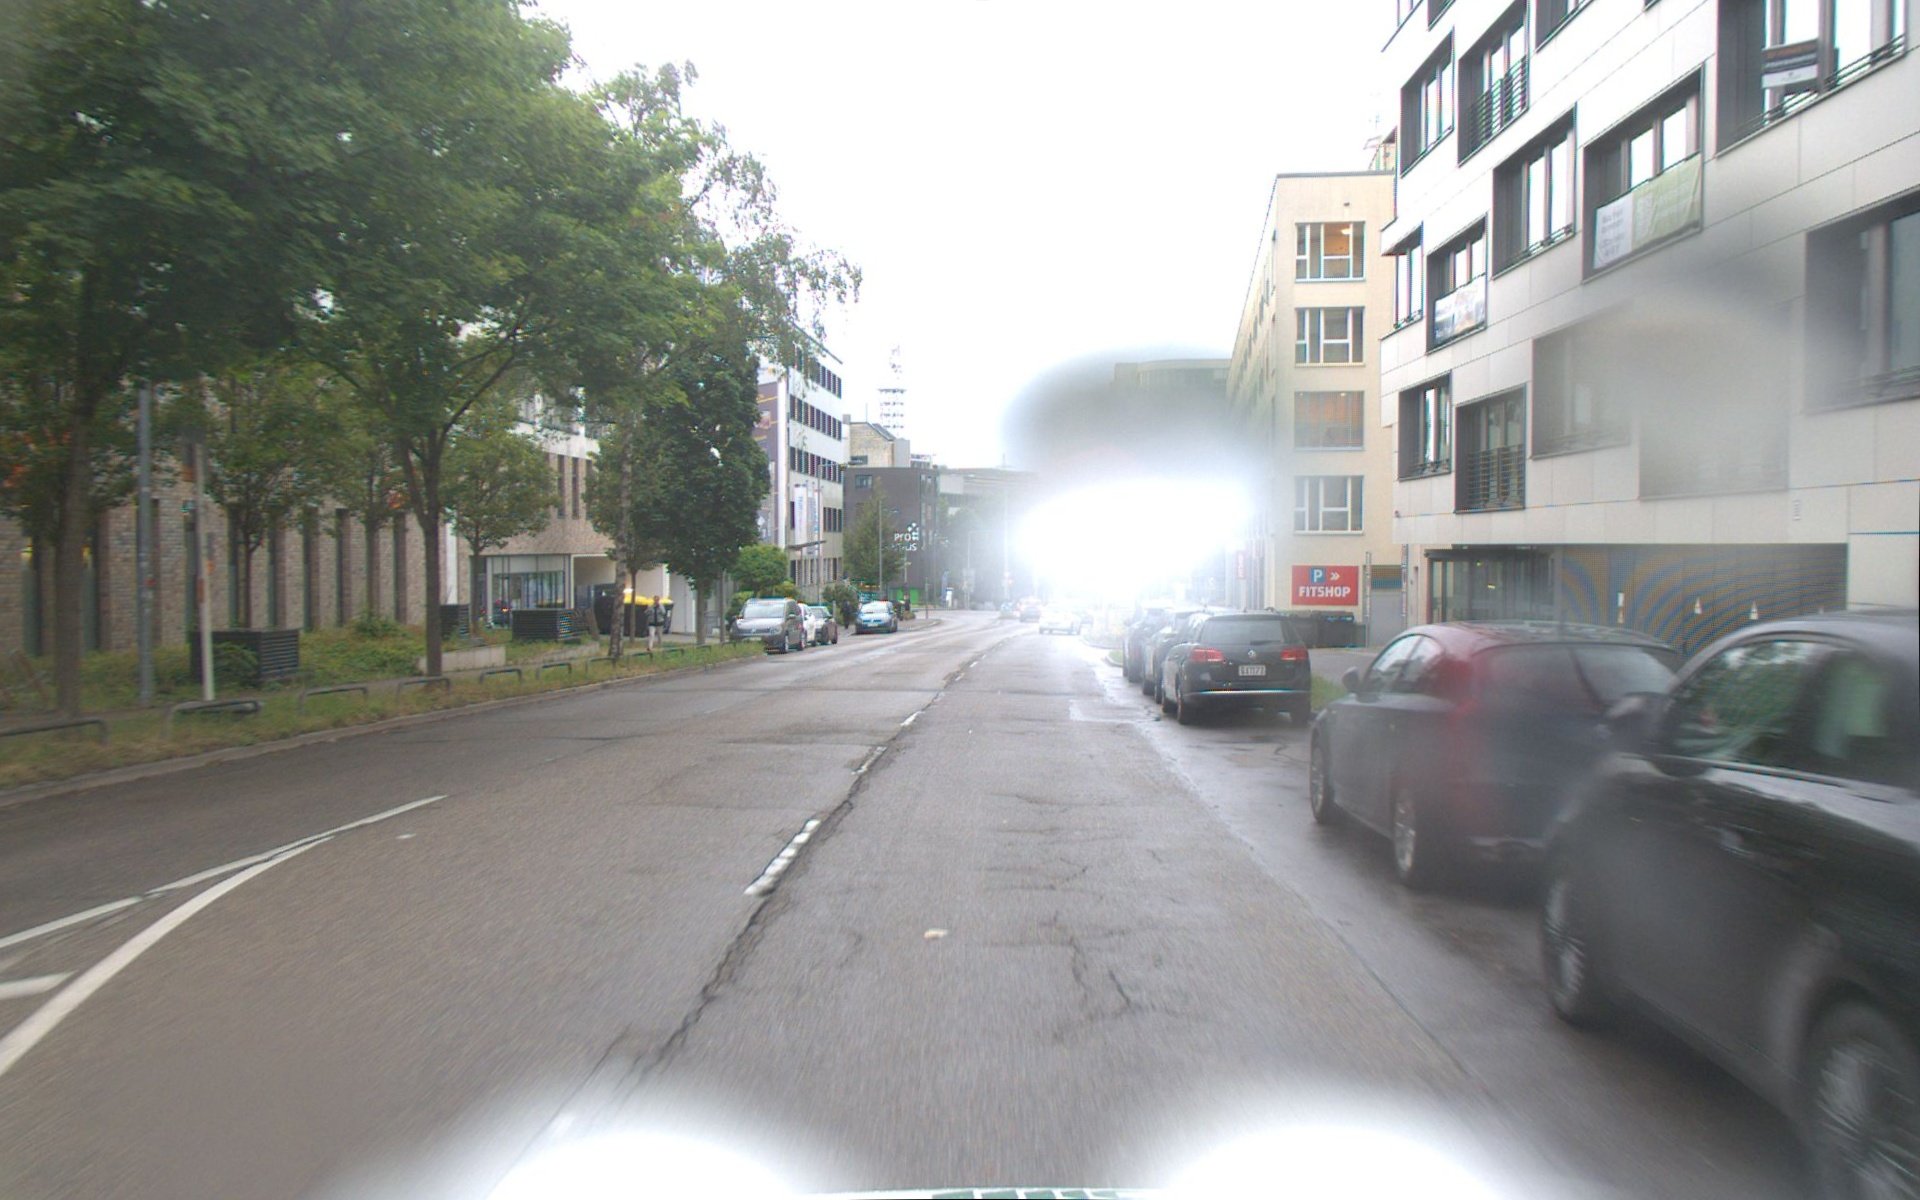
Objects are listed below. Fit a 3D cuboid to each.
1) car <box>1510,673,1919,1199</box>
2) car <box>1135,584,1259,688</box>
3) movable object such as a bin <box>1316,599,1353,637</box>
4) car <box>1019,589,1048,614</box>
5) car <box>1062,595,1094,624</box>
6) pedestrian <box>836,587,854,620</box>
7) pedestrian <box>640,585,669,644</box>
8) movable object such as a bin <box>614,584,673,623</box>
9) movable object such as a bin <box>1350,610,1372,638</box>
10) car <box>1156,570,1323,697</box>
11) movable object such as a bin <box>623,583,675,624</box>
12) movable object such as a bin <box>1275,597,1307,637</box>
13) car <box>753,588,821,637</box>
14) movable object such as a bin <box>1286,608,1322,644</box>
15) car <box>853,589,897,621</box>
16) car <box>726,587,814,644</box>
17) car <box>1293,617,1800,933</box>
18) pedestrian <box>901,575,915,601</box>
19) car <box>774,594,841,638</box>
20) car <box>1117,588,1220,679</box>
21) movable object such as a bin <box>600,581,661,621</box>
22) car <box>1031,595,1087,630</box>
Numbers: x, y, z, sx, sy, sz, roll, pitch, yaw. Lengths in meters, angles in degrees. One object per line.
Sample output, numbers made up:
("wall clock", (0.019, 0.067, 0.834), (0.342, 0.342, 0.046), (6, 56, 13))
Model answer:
("car", (2.946, 1.093, 5.076), (1.513, 1.504, 3.662), (1, 1, 4))
("car", (4.017, 0.590, 28.617), (1.712, 1.633, 4.375), (1, 0, 3))
("movable object such as a bin", (14.167, 0.670, 62.665), (1.234, 1.427, 1.113), (0, 0, 5))
("car", (5.422, 0.133, 122.130), (2.097, 1.758, 4.001), (1, 0, 3))
("car", (7.521, 0.582, 105.741), (1.952, 1.780, 3.674), (0, 0, 3))
("pedestrian", (-6.115, 0.184, 87.930), (0.718, 1.738, 0.897), (0, -1, -24))
("pedestrian", (-9.053, 0.424, 49.019), (0.694, 1.712, 0.956), (0, 0, -1))
("movable object such as a bin", (-12.235, 0.136, 63.944), (2.012, 1.448, 1.317), (1, 0, -1))
("movable object such as a bin", (15.174, 0.897, 62.591), (0.684, 1.045, 0.853), (0, 0, 5))
("car", (3.835, 0.438, 23.426), (1.770, 1.591, 4.848), (1, 0, 3))
("movable object such as a bin", (-12.293, 0.139, 65.427), (1.759, 1.536, 1.481), (-2, 0, 0))
("movable object such as a bin", (12.823, 0.655, 64.082), (1.149, 1.529, 1.014), (0, 0, 6))
("car", (-5.902, 0.391, 56.790), (1.736, 1.628, 4.033), (0, 0, 3))
("movable object such as a bin", (12.852, 0.977, 61.829), (1.209, 1.343, 1.192), (-1, -1, 5))
("car", (-4.124, 0.258, 81.073), (1.874, 1.507, 4.356), (1, 0, 0))
("car", (-5.865, 0.450, 51.539), (2.034, 1.637, 4.687), (-1, 1, 2))
("car", (3.325, 0.877, 10.358), (1.770, 1.510, 4.496), (1, 0, 3))
("pedestrian", (-3.918, -0.913, 124.909), (0.941, 1.989, 0.777), (1, -1, -9))
("car", (-5.613, 0.595, 61.438), (1.759, 1.543, 4.248), (1, 0, 5))
("car", (4.309, 0.641, 34.820), (1.770, 1.708, 4.714), (1, 1, 3))
("movable object such as a bin", (-12.471, 0.031, 62.615), (1.985, 1.454, 1.290), (2, 0, -1))
("car", (4.956, 0.598, 82.170), (1.951, 1.604, 3.999), (0, 1, 16))
